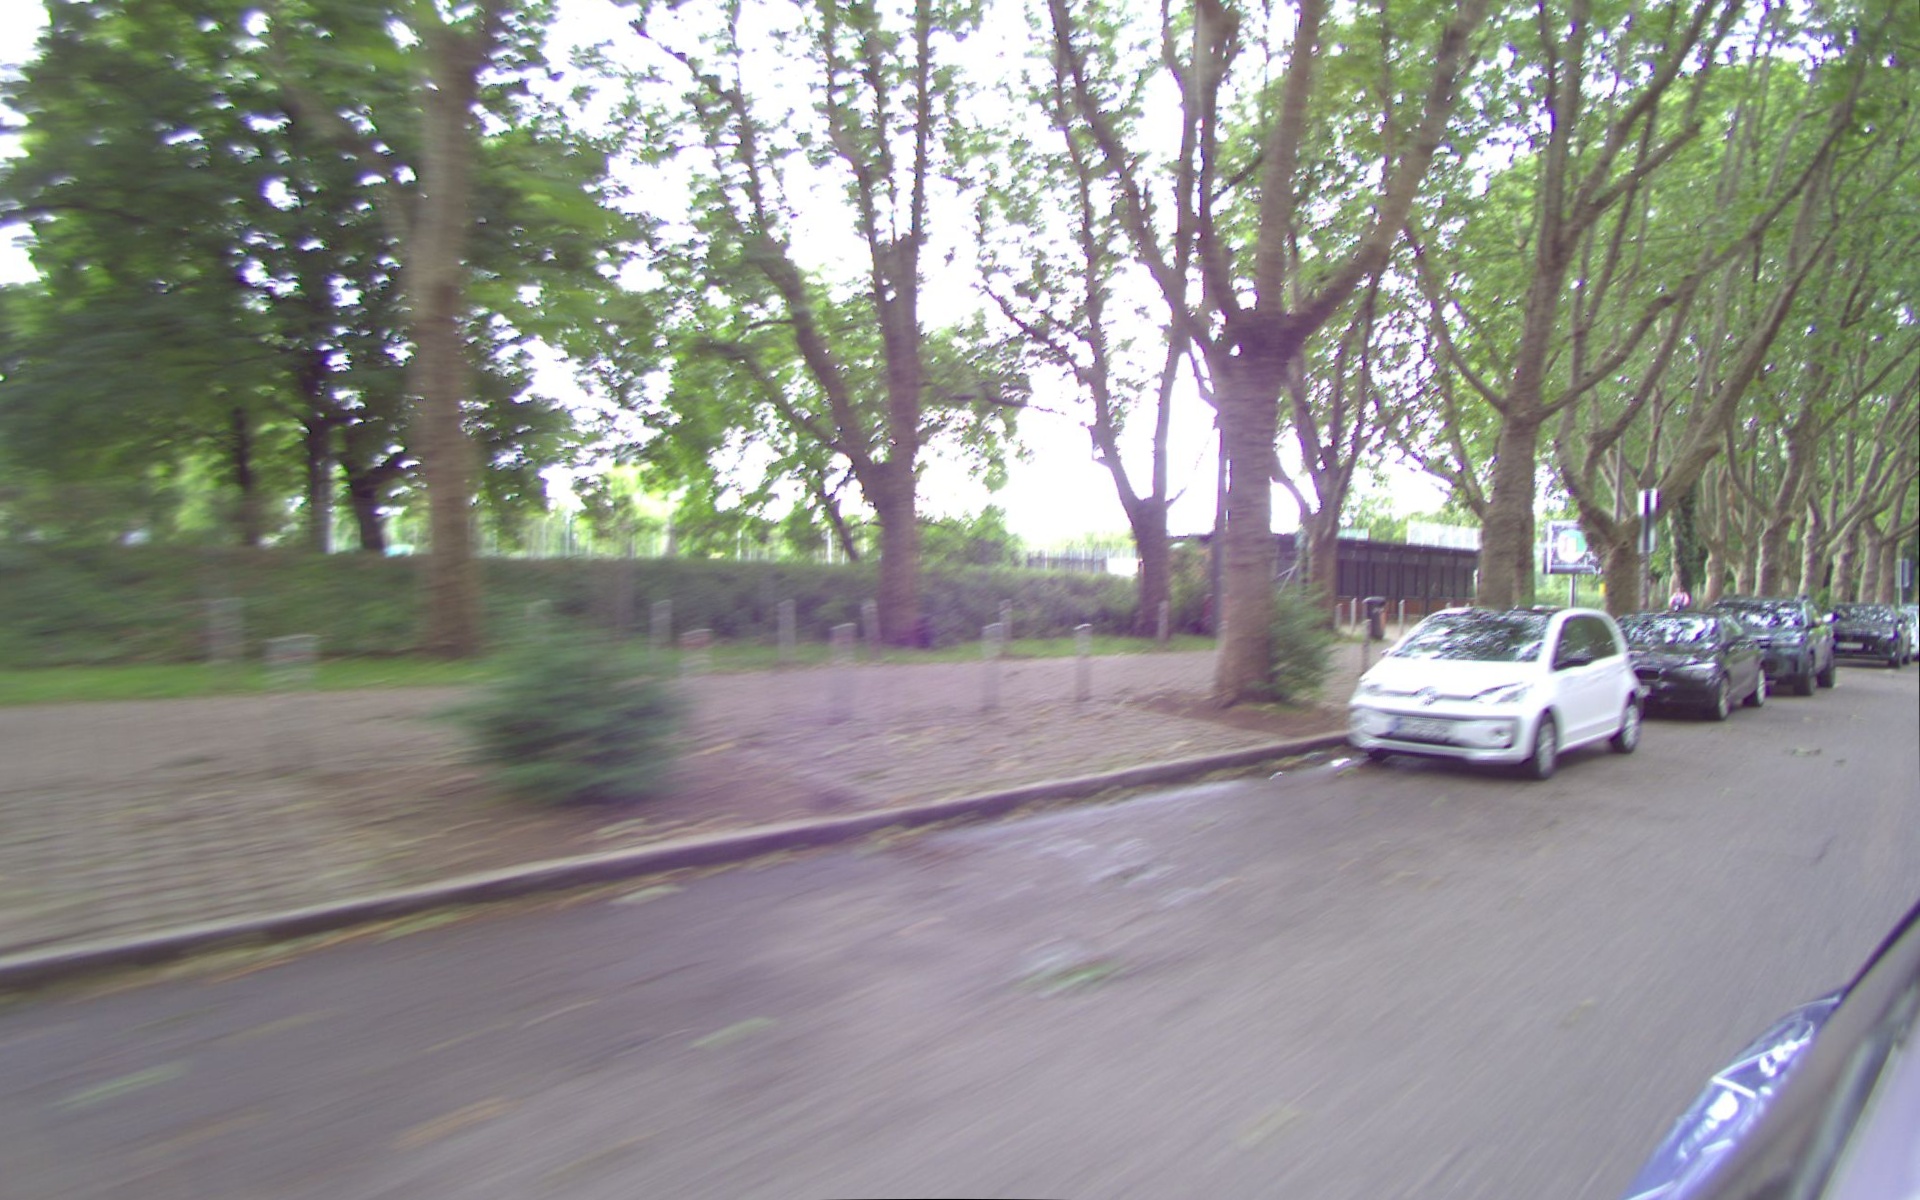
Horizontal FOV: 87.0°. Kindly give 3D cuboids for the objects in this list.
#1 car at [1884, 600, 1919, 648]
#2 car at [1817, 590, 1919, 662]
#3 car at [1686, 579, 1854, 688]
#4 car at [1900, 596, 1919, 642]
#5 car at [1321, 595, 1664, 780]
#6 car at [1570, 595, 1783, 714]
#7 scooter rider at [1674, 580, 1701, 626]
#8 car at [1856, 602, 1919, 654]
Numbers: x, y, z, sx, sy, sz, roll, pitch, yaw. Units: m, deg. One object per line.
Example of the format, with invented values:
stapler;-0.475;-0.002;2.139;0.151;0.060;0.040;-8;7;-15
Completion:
car;32.138;0.770;33.626;4.278;1.528;1.671;0;-1;-41
car;24.186;0.621;26.726;4.558;1.694;1.780;0;1;-42
car;14.614;0.538;18.155;4.552;1.720;1.709;0;0;-43
car;35.809;0.682;36.949;4.361;1.640;1.758;0;-1;-41
car;5.281;0.687;9.844;3.821;1.445;1.710;0;0;-41
car;10.330;0.674;14.470;4.288;1.433;1.709;0;0;-44
scooter rider;29.869;0.128;41.540;0.577;1.822;0.678;1;3;-41
car;28.061;0.791;30.083;3.644;1.460;1.619;0;-1;-41
